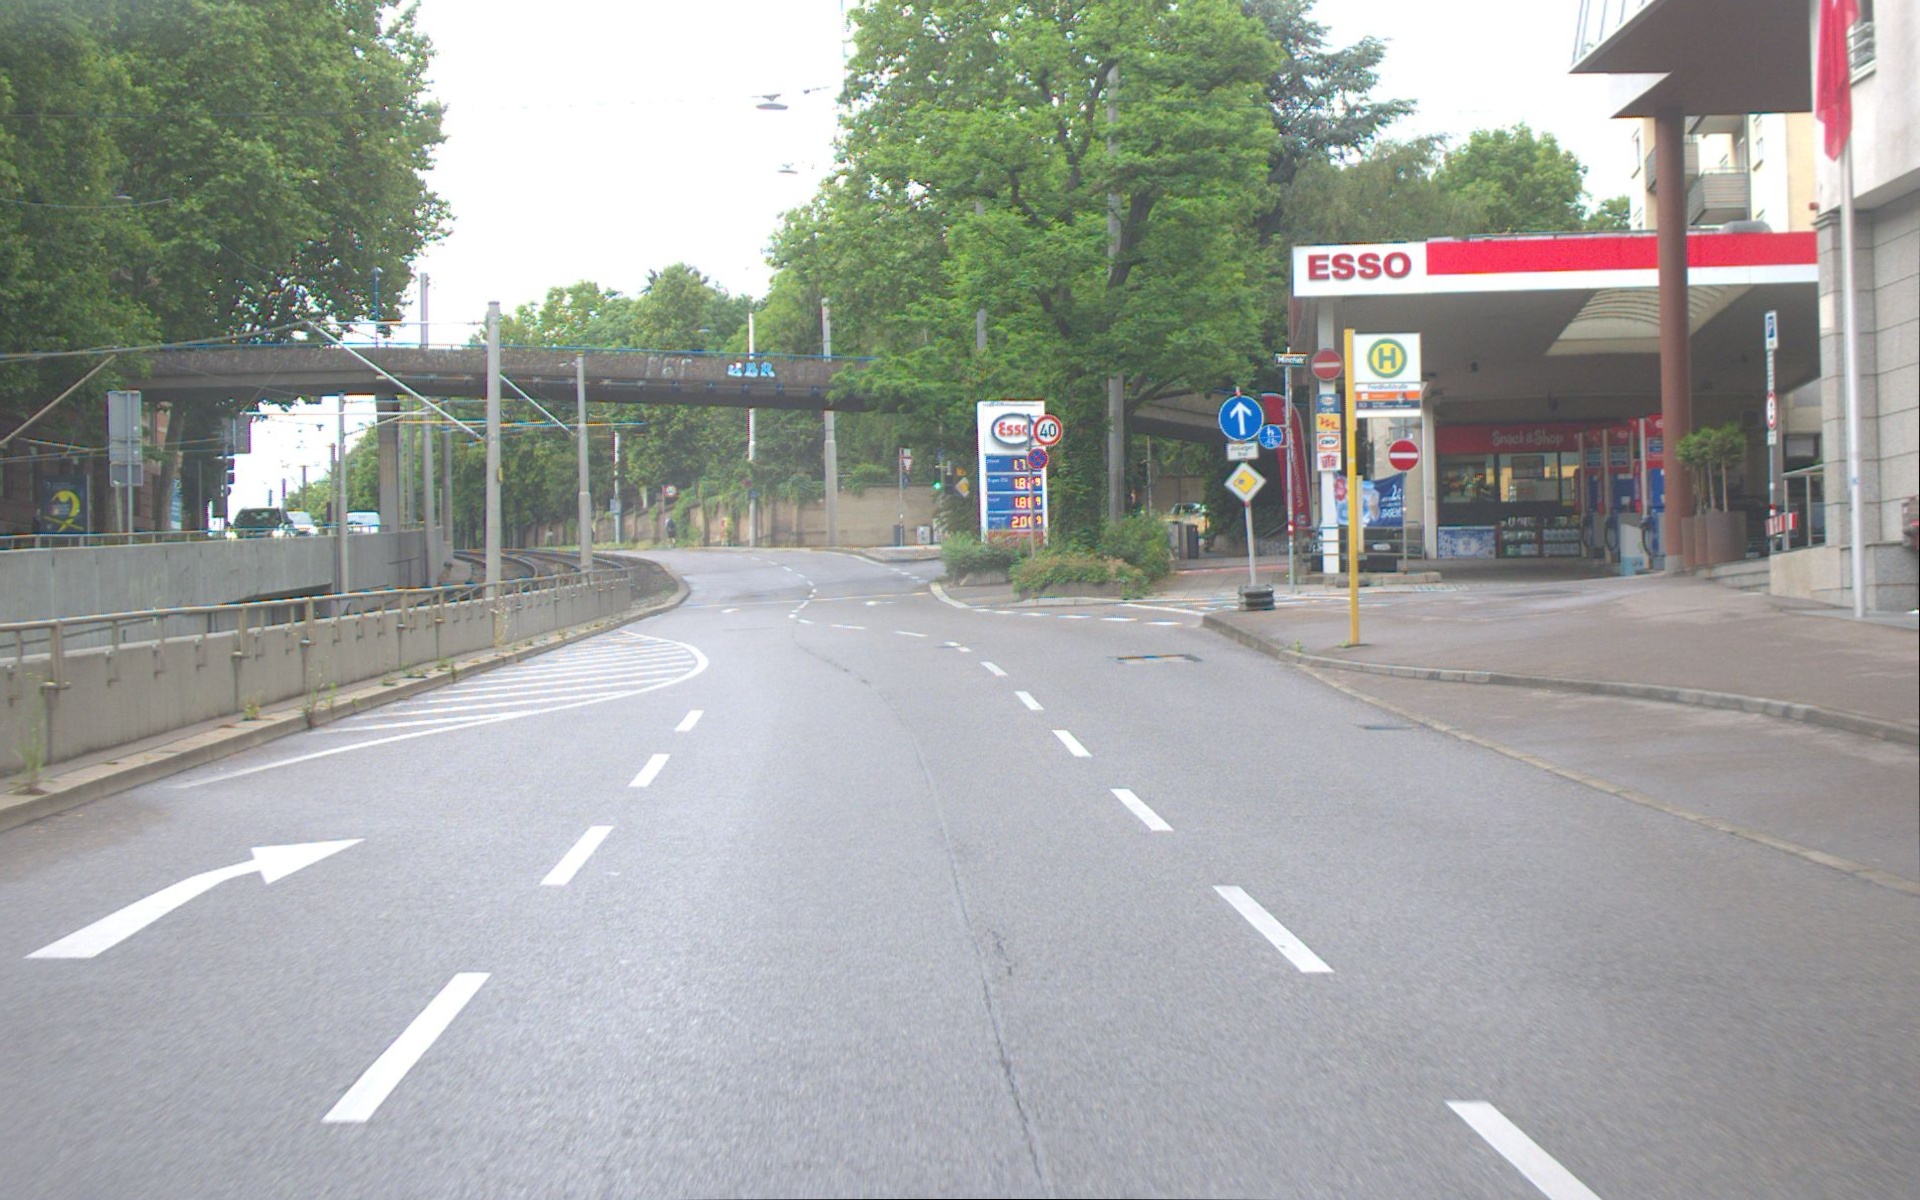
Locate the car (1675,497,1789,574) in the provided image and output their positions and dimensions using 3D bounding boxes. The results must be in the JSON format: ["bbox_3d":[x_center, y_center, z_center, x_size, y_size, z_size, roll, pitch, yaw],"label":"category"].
[{"bbox_3d":[16.077,-1.328,71.764,1.794,1.505,3.999,1,0,5],"label":"car"}]

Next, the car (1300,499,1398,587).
[{"bbox_3d":[7.814,-1.138,68.810,1.773,1.618,3.865,-3,0,8],"label":"car"}]
